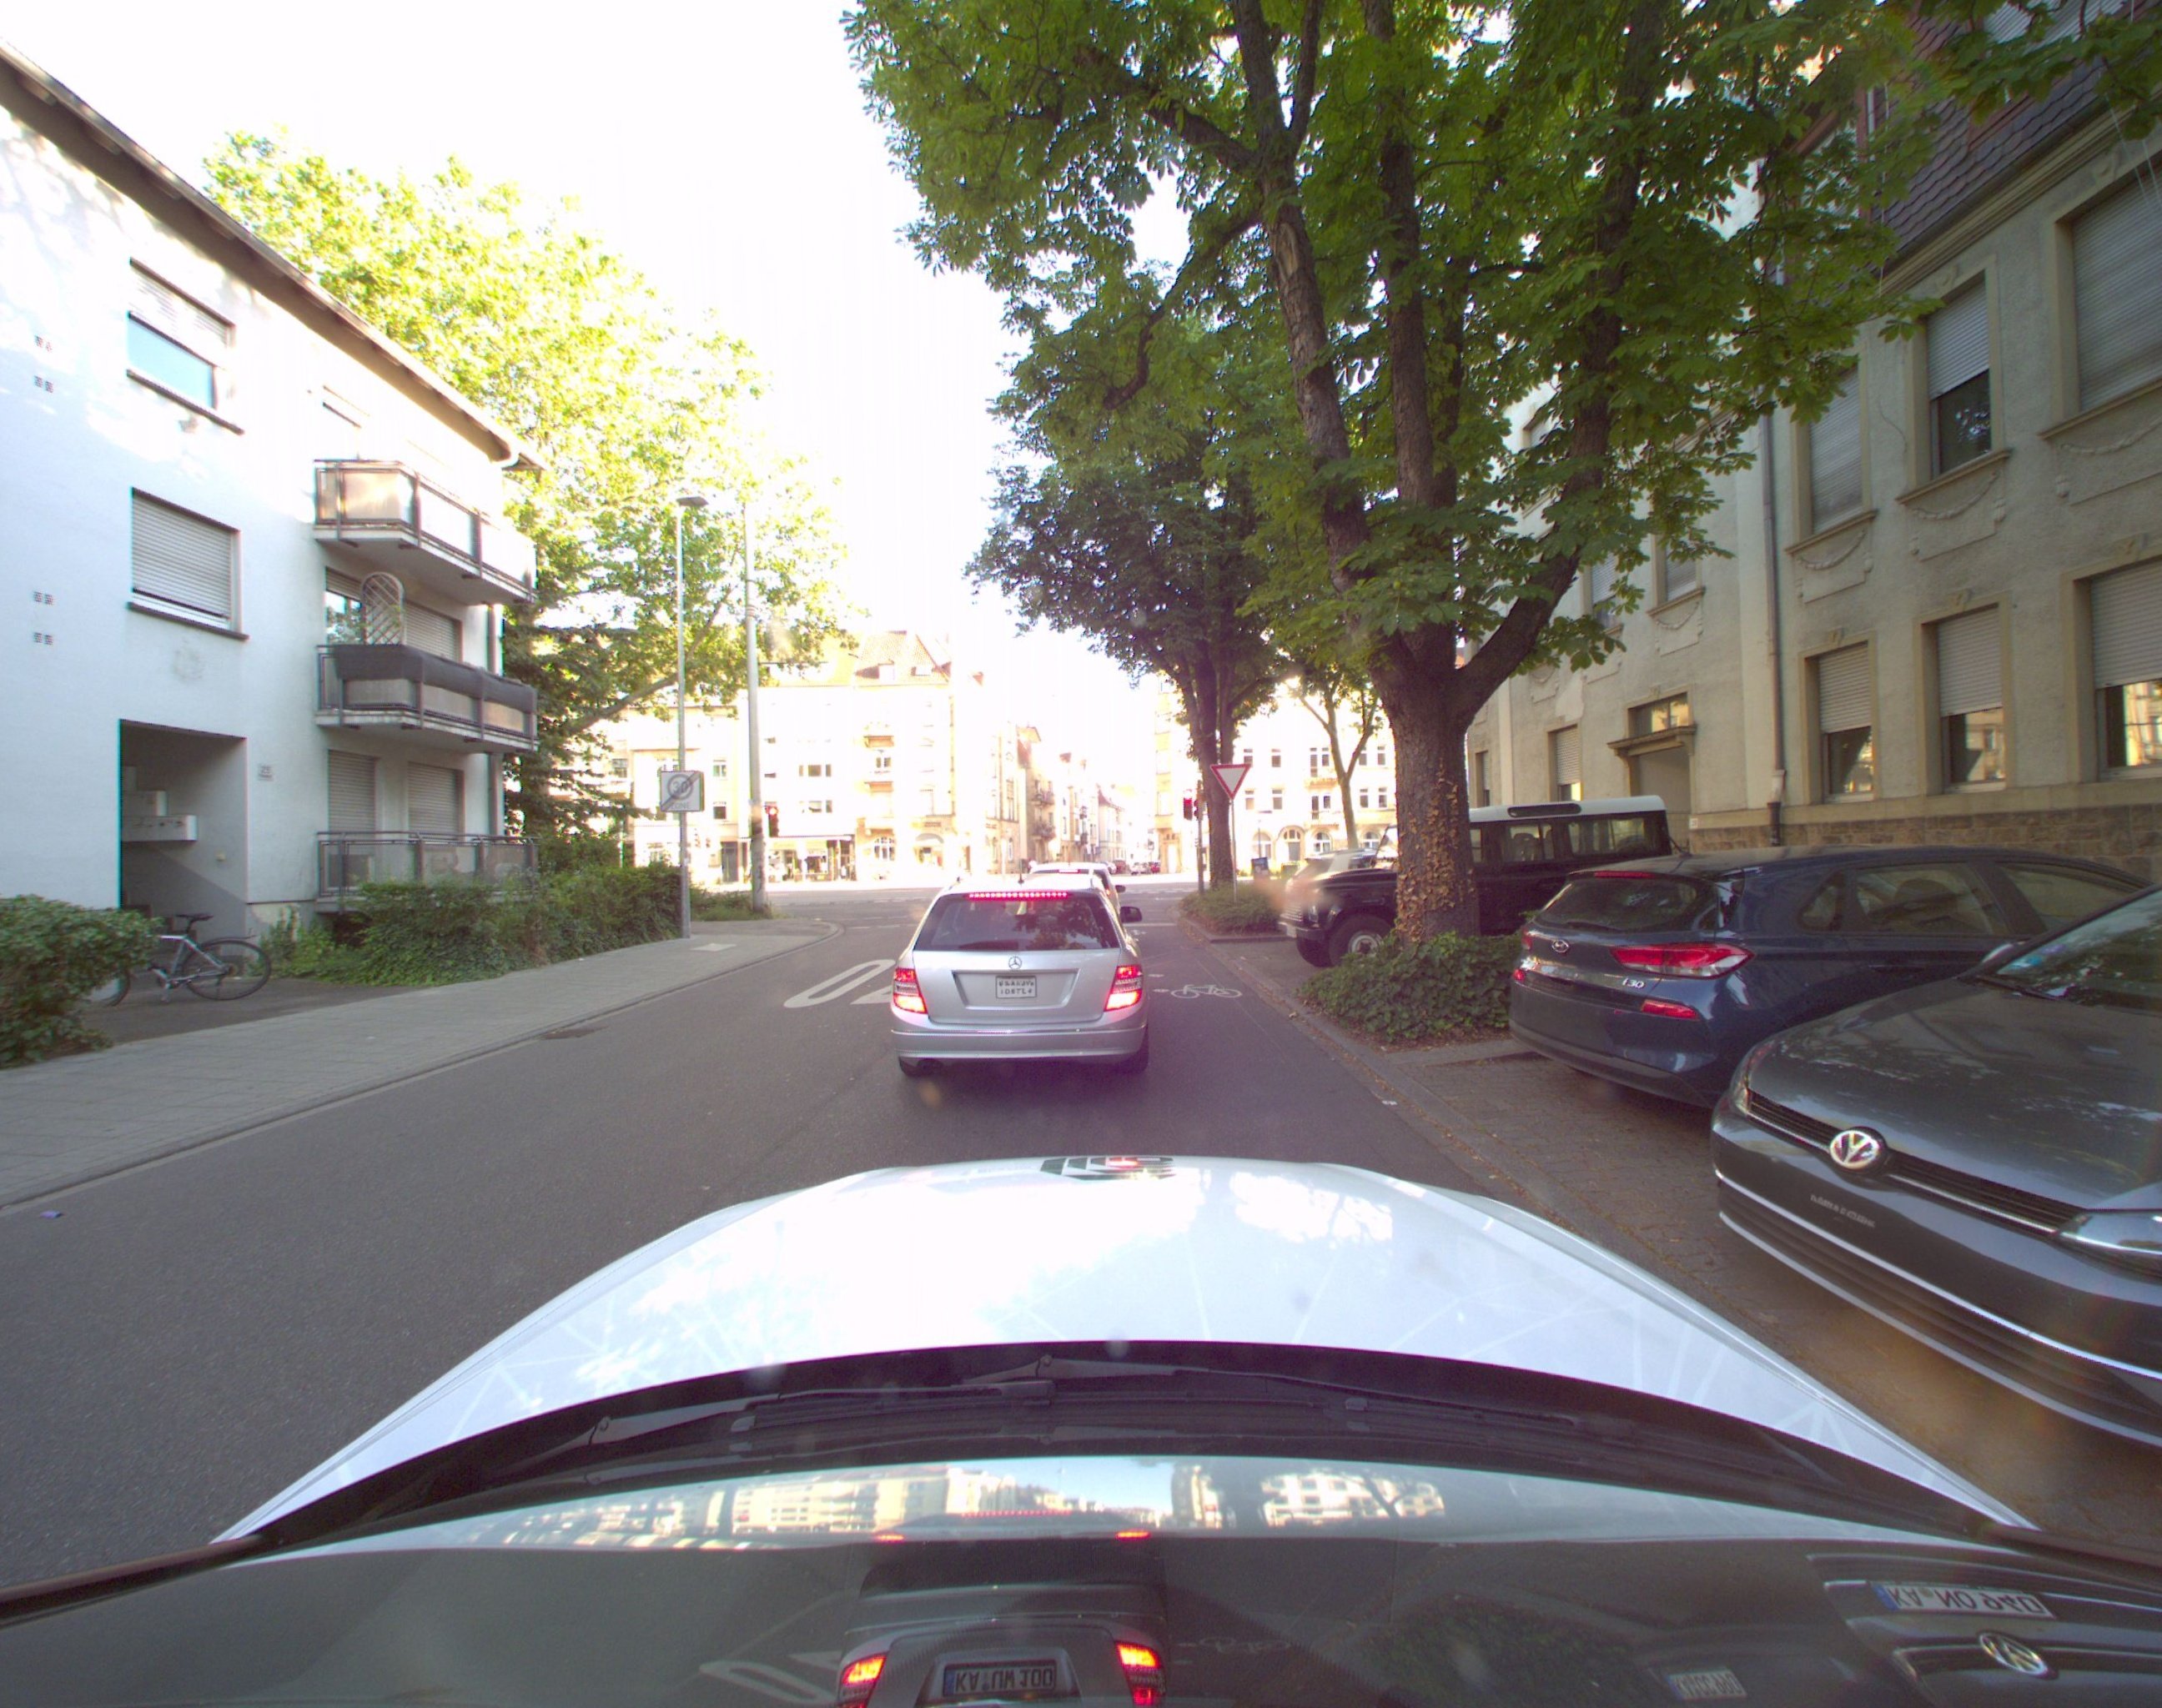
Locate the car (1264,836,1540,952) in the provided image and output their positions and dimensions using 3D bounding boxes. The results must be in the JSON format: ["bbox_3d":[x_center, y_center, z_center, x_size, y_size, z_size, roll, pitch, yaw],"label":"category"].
[{"bbox_3d":[5.025,0.608,13.093,3.714,1.570,1.707,-3,-1,-2],"label":"car"}]

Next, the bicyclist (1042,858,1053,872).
[{"bbox_3d":[-3.008,1.011,73.709,0.765,1.290,0.755,-1,0,13],"label":"bicyclist"}]

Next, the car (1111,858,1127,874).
[{"bbox_3d":[5.481,1.690,117.403,1.776,2.204,4.012,-1,0,10],"label":"car"}]

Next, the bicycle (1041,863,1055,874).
[{"bbox_3d":[-3.003,1.305,73.707,0.765,0.934,1.947,-1,0,13],"label":"bicycle"}]

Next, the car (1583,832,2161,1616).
[{"bbox_3d":[4.027,0.644,2.387,4.042,1.452,1.722,-3,-1,-2],"label":"car"}]

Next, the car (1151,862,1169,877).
[{"bbox_3d":[9.876,1.879,101.862,1.824,1.744,4.012,-1,0,10],"label":"car"}]

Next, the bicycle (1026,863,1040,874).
[{"bbox_3d":[-4.325,1.323,73.651,0.765,0.940,1.947,-1,0,13],"label":"bicycle"}]

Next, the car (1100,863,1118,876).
[{"bbox_3d":[3.708,2.041,108.844,1.824,1.663,4.012,-1,0,10],"label":"car"}]

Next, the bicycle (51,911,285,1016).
[{"bbox_3d":[-9.999,1.164,9.012,1.630,1.008,0.511,2,-2,-39],"label":"bicycle"}]

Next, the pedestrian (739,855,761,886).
[{"bbox_3d":[-26.650,1.297,65.642,1.343,2.464,1.059,-1,0,-3],"label":"pedestrian"}]

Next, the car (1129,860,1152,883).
[{"bbox_3d":[6.305,1.792,85.905,2.018,2.279,4.012,-1,0,10],"label":"car"}]

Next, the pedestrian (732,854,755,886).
[{"bbox_3d":[-26.437,1.266,63.868,1.343,2.464,1.059,-1,0,-3],"label":"pedestrian"}]

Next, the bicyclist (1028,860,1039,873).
[{"bbox_3d":[-4.309,1.101,73.730,0.765,1.156,0.755,-1,0,13],"label":"bicyclist"}]

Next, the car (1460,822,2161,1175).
[{"bbox_3d":[4.392,0.627,4.559,3.714,1.452,1.707,-3,-1,-2],"label":"car"}]

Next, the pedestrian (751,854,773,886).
[{"bbox_3d":[-25.361,1.278,64.703,1.343,2.464,1.059,-1,0,-3],"label":"pedestrian"}]

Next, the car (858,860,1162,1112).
[{"bbox_3d":[-0.408,0.792,7.087,1.771,1.452,4.547,-1,0,0],"label":"car"}]

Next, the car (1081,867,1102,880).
[{"bbox_3d":[1.325,2.280,97.168,1.824,1.402,4.012,-1,0,10],"label":"car"}]

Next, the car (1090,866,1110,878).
[{"bbox_3d":[2.396,2.231,102.638,1.824,1.402,4.012,-1,0,10],"label":"car"}]

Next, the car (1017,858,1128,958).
[{"bbox_3d":[-0.113,0.807,14.175,1.614,1.447,4.344,-1,0,0],"label":"car"}]

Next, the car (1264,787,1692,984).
[{"bbox_3d":[4.736,0.359,10.133,4.453,2.036,1.700,-3,-1,-2],"label":"car"}]
